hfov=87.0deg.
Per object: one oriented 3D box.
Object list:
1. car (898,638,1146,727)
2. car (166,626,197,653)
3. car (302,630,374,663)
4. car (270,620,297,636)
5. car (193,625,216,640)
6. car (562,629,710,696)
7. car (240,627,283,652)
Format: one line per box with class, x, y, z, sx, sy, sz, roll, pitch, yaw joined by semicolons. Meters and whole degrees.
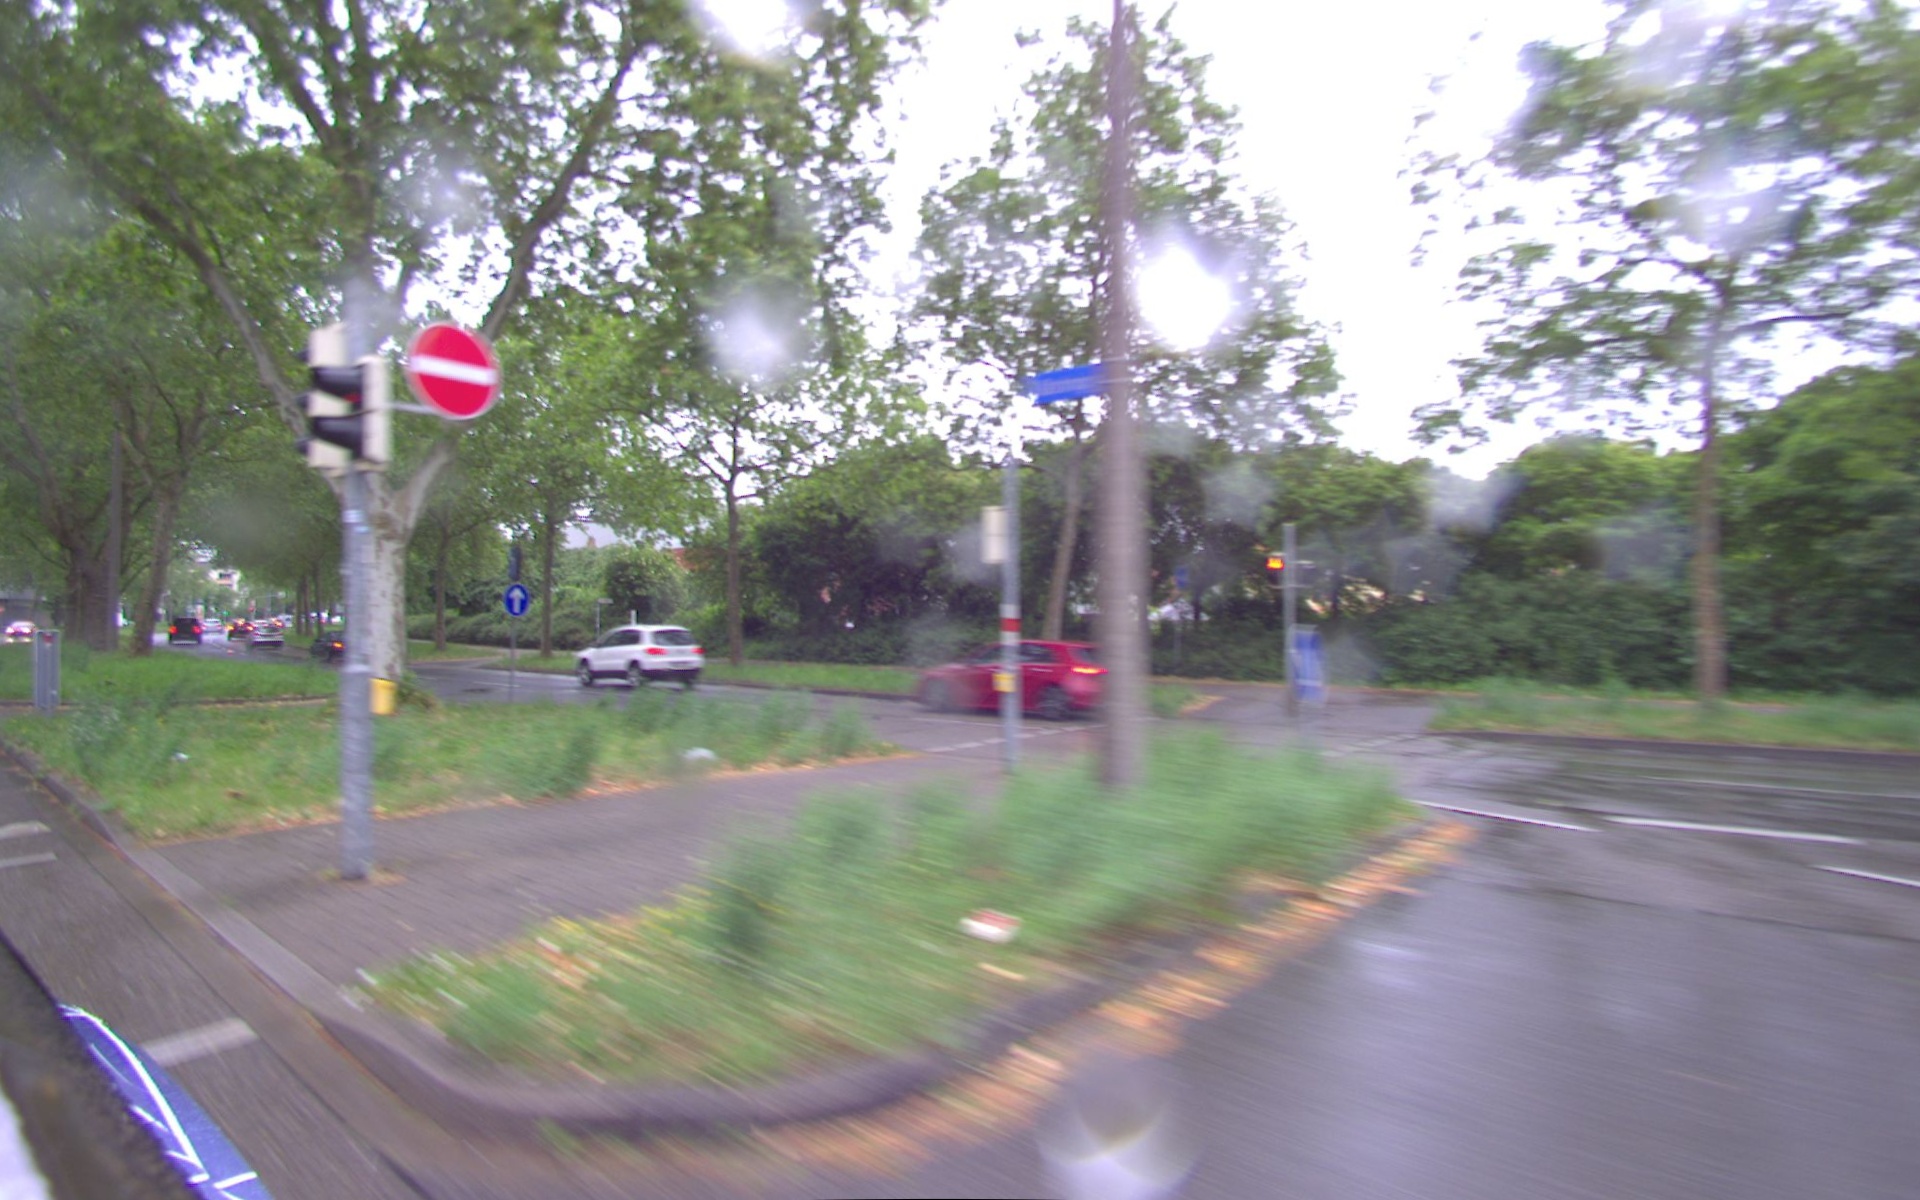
car;1.066;1.441;18.823;4.439;1.418;1.726;-1;-2;39
car;-56.262;2.836;73.172;1.721;1.856;5.131;1;-2;-38
car;-28.404;2.125;46.170;4.445;1.450;1.724;-3;-3;44
car;-93.668;3.862;140.119;2.001;2.243;5.452;1;-1;-22
car;-82.401;3.520;110.381;1.721;1.603;4.337;1;-2;-40
car;-8.855;1.637;27.480;4.440;1.644;1.726;-1;-2;39
car;-43.892;2.432;63.545;1.722;1.487;4.240;1;-2;-42
